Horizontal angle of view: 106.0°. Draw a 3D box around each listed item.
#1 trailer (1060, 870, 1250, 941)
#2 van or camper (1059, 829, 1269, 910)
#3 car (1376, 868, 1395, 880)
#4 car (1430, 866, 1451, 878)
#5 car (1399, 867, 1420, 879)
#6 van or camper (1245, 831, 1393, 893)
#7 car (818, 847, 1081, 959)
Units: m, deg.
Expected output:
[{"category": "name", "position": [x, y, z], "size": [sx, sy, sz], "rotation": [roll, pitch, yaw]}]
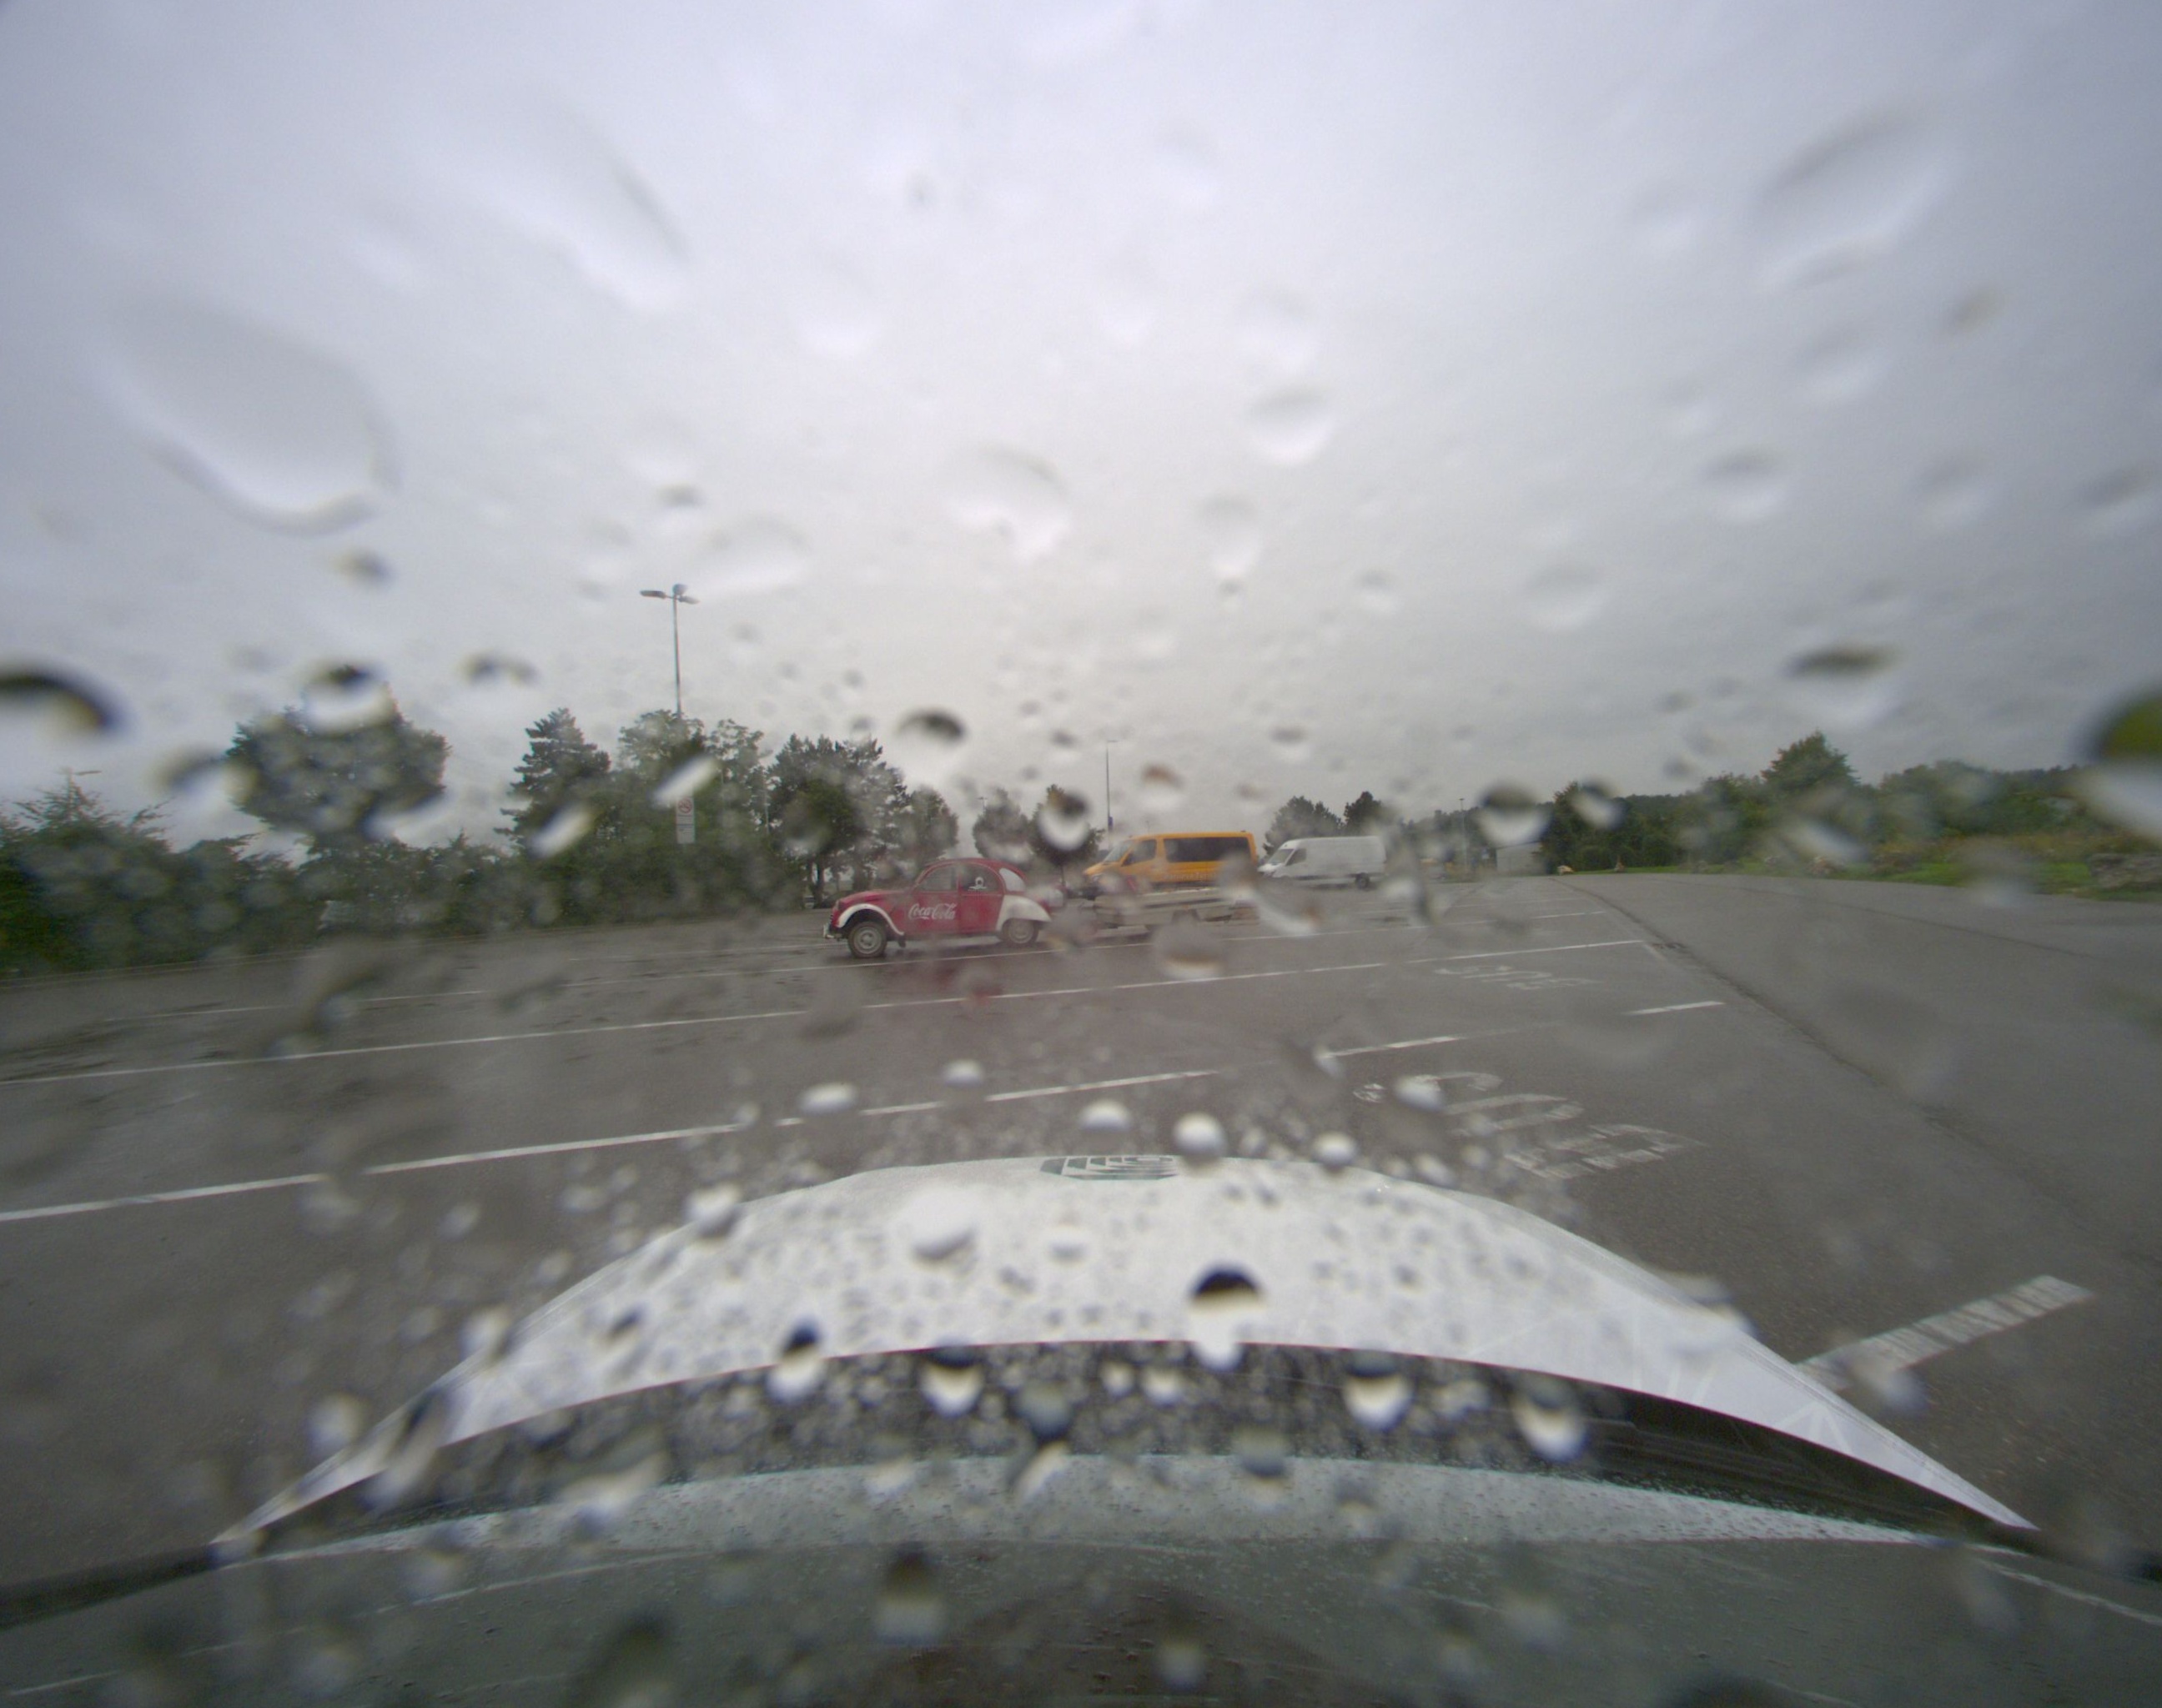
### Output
[{"category": "trailer", "position": [1.274, 0.872, 14.579], "size": [3.024, 1.067, 1.582], "rotation": [-2, -1, -13]}, {"category": "van or camper", "position": [2.674, 0.444, 26.416], "size": [6.411, 2.246, 2.123], "rotation": [-2, 0, -17]}, {"category": "car", "position": [29.224, 1.924, 78.076], "size": [1.481, 1.000, 3.590], "rotation": [-2, 0, 24]}, {"category": "car", "position": [34.168, 1.719, 77.392], "size": [1.688, 1.000, 3.789], "rotation": [-2, 0, 24]}, {"category": "car", "position": [31.741, 1.809, 78.578], "size": [1.688, 1.000, 3.789], "rotation": [-2, 0, 24]}, {"category": "van or camper", "position": [11.799, 0.335, 40.308], "size": [7.061, 2.715, 1.989], "rotation": [-2, 1, -17]}, {"category": "car", "position": [-2.167, 0.748, 13.611], "size": [4.048, 1.555, 1.543], "rotation": [-2, 0, -13]}]
